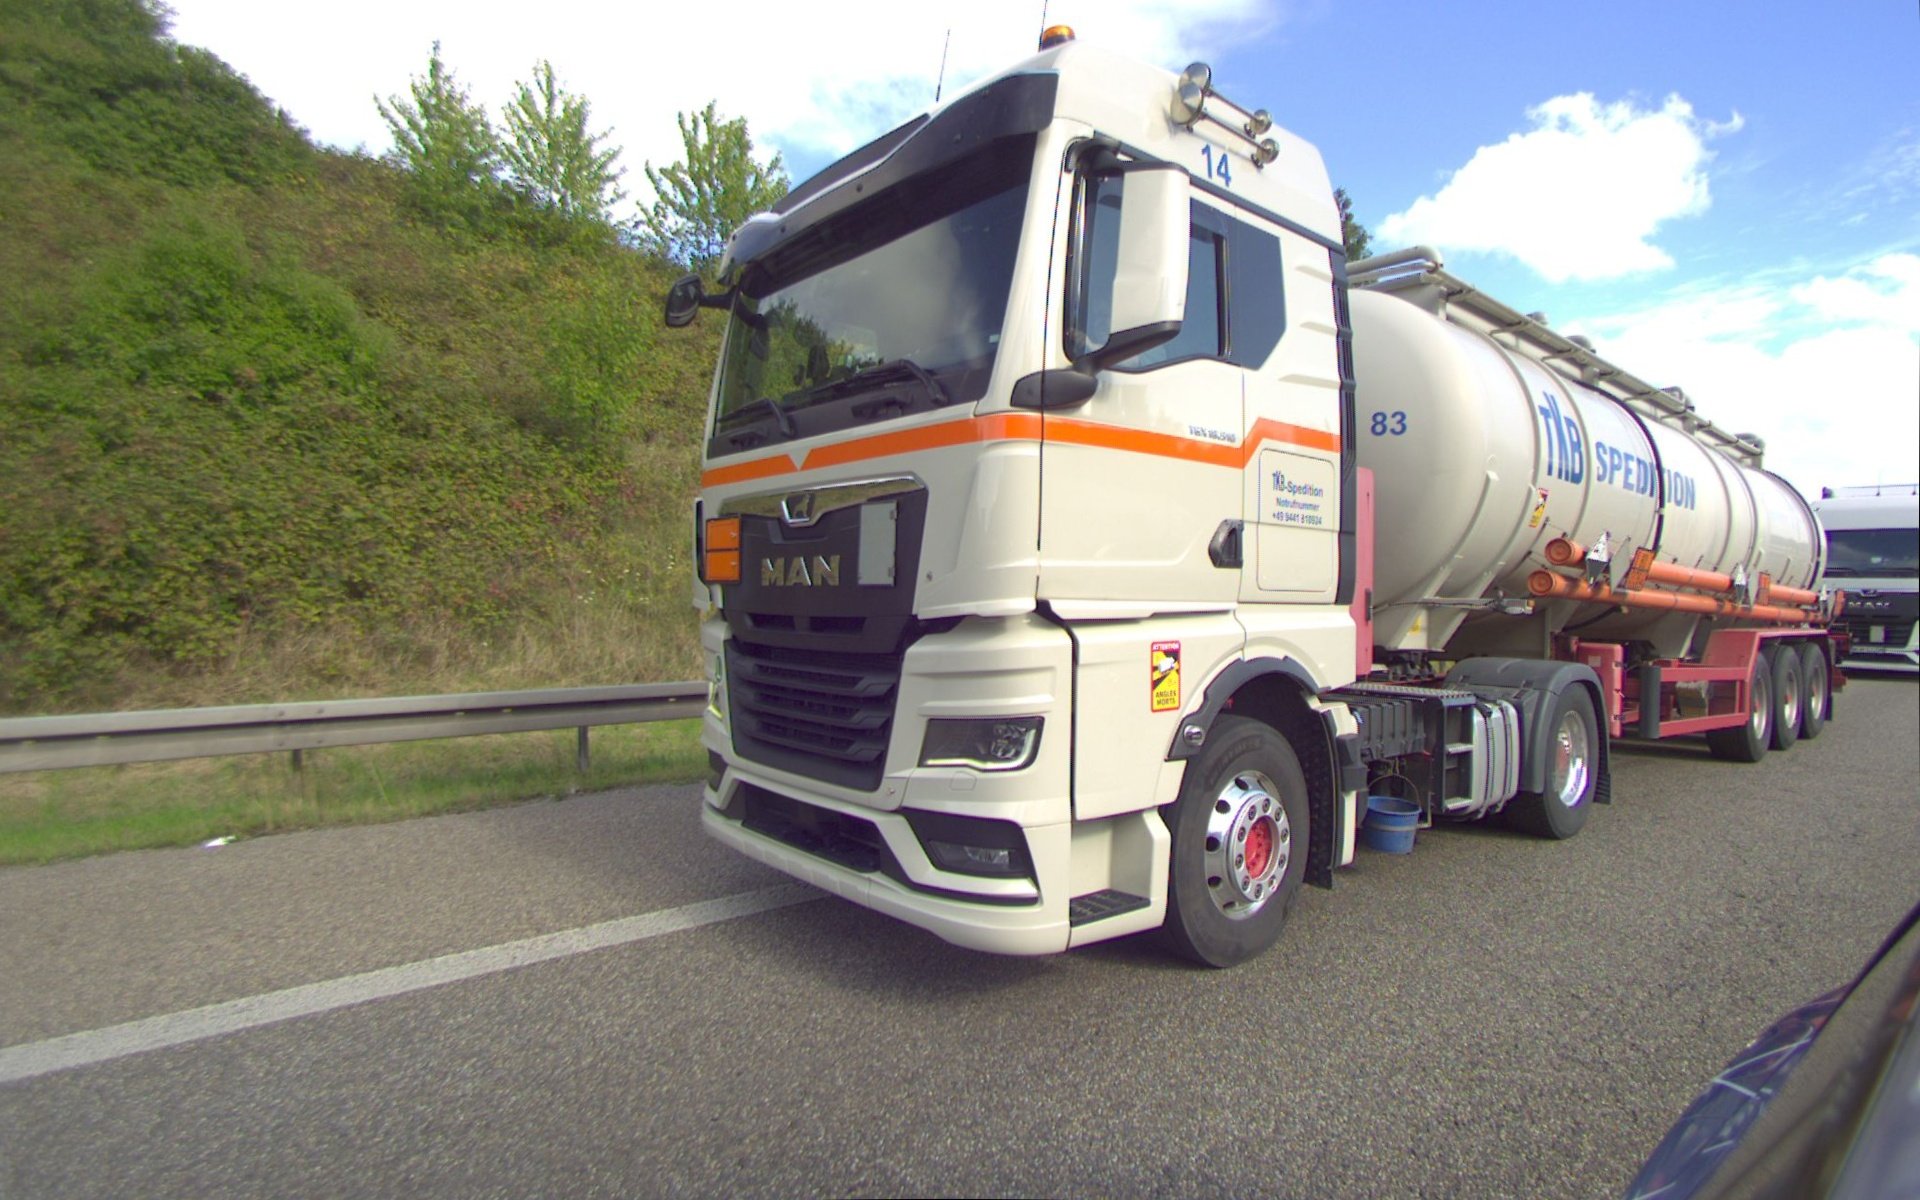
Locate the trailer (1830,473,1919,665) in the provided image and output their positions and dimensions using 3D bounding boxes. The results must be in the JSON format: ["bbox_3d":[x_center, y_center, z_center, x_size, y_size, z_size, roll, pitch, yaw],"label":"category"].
[{"bbox_3d":[25.665,-0.684,25.984,13.131,4.122,2.832,0,1,-39],"label":"trailer"}]

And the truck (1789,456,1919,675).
[{"bbox_3d":[19.952,-0.668,21.292,5.605,4.123,2.840,0,0,-39],"label":"truck"}]

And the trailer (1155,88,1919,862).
[{"bbox_3d":[6.577,-0.695,9.911,10.981,4.077,2.804,0,0,-39],"label":"trailer"}]

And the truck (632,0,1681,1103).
[{"bbox_3d":[1.501,-0.675,5.756,5.797,4.094,2.809,0,0,-39],"label":"truck"}]
